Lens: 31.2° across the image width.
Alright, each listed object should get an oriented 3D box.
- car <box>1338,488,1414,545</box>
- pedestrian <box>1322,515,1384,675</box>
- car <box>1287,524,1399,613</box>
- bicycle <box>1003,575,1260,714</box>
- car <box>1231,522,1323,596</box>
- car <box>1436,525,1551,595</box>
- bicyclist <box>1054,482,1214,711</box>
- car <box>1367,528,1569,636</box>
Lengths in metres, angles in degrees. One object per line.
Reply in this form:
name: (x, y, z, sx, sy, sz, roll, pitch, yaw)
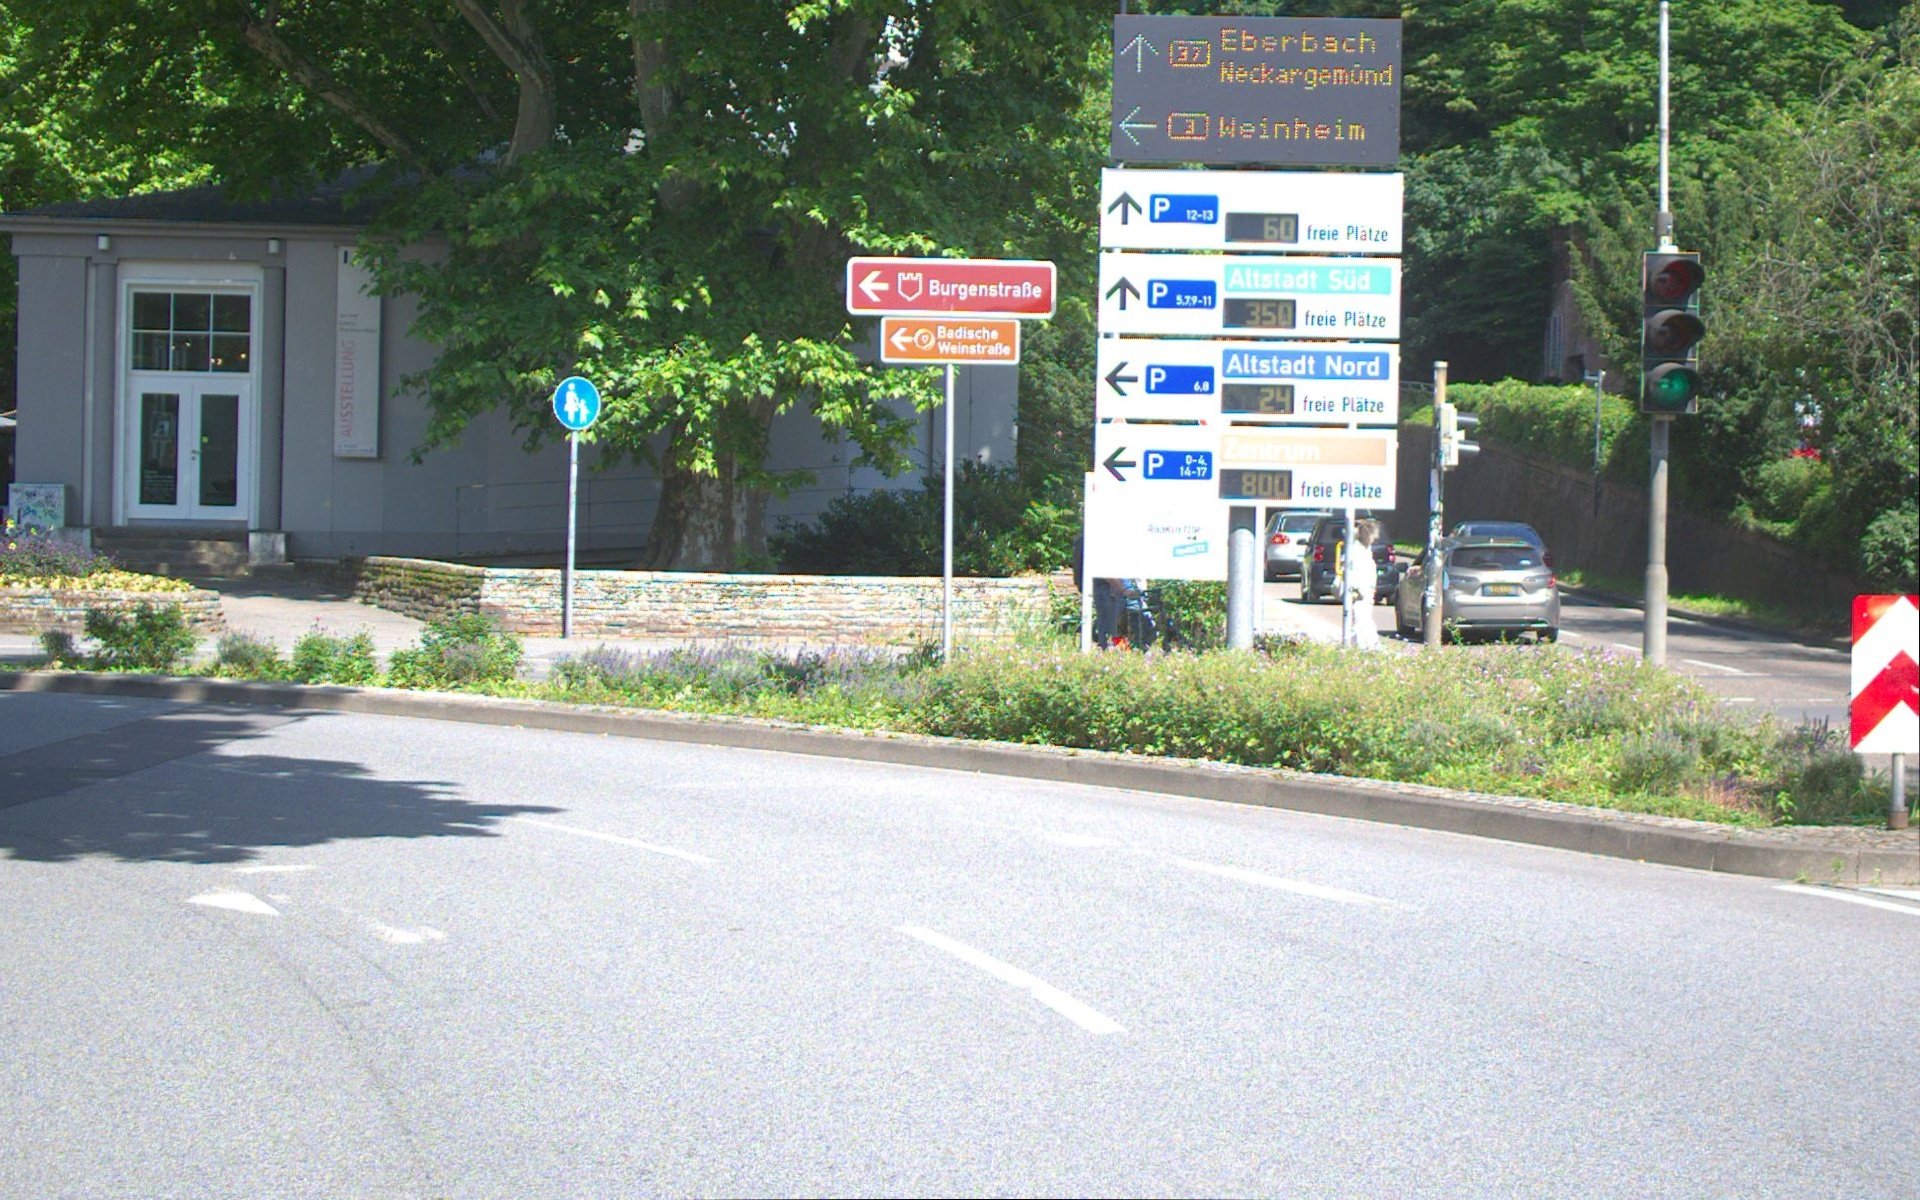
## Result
car: (11.149, -2.243, 92.380, 1.756, 1.456, 3.645, 2, 1, 3)
pedestrian: (4.043, -0.058, 35.378, 0.547, 1.615, 0.634, 1, 2, 13)
car: (6.747, -0.580, 60.806, 1.756, 1.456, 3.494, 2, 1, 3)
bicycle: (1.476, 0.370, 29.760, 2.080, 1.109, 0.755, 2, 2, 29)
car: (6.600, -0.880, 71.855, 1.756, 1.456, 3.645, 2, 1, 3)
car: (9.924, -0.759, 64.169, 1.756, 1.209, 3.494, 2, 1, 3)
bicyclist: (1.505, -0.038, 29.731, 1.128, 1.926, 0.747, 2, 1, 29)
car: (6.833, -0.275, 46.591, 1.756, 1.329, 3.802, 1, 1, -7)
